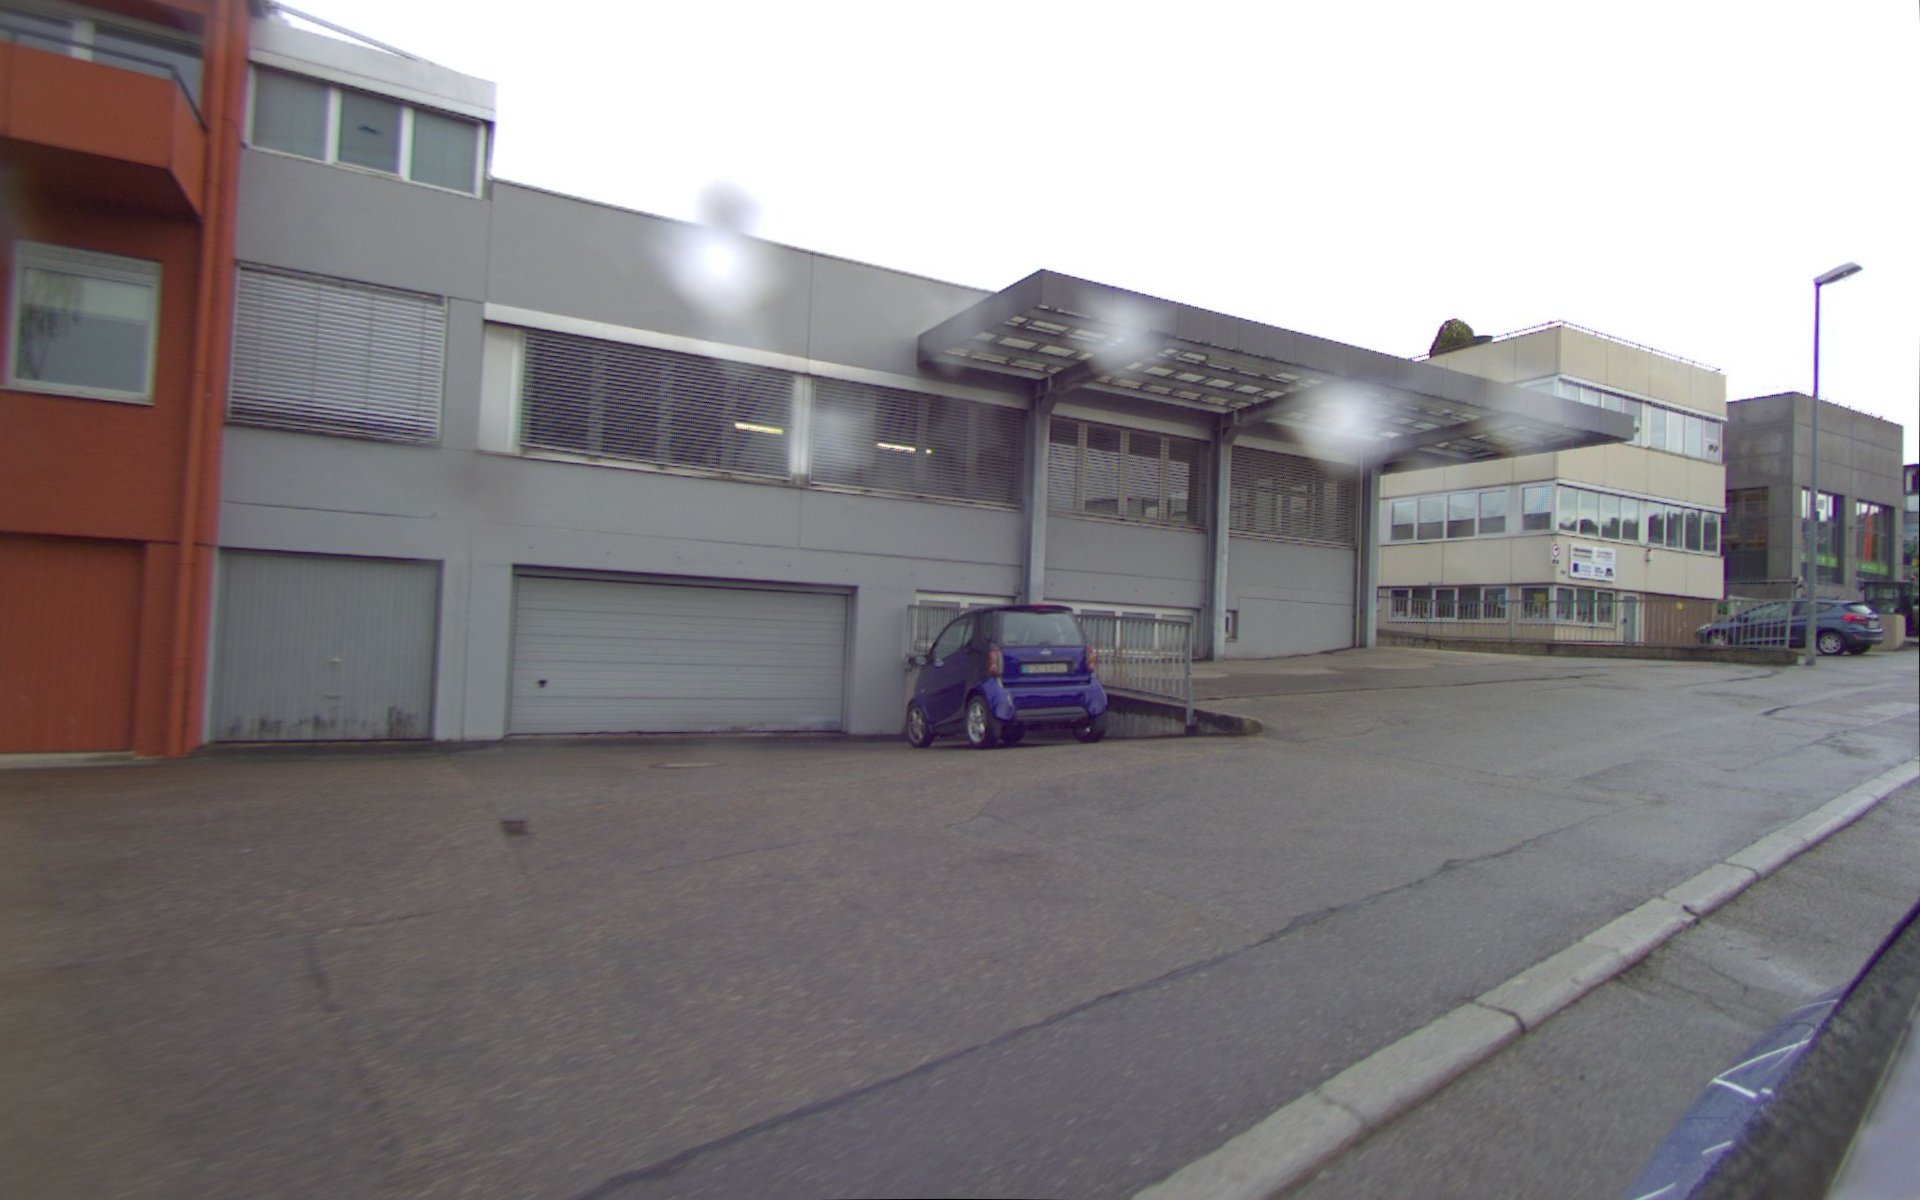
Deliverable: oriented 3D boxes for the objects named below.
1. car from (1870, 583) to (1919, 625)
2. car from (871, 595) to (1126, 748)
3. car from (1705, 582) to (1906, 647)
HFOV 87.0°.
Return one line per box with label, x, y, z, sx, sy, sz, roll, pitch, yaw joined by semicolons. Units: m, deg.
car;35.982;0.161;36.300;1.902;1.516;4.632;0;1;-29
car;0.293;0.943;12.124;1.585;1.520;3.448;0;-8;-25
car;22.308;0.337;26.839;1.598;1.559;3.755;0;1;-31
